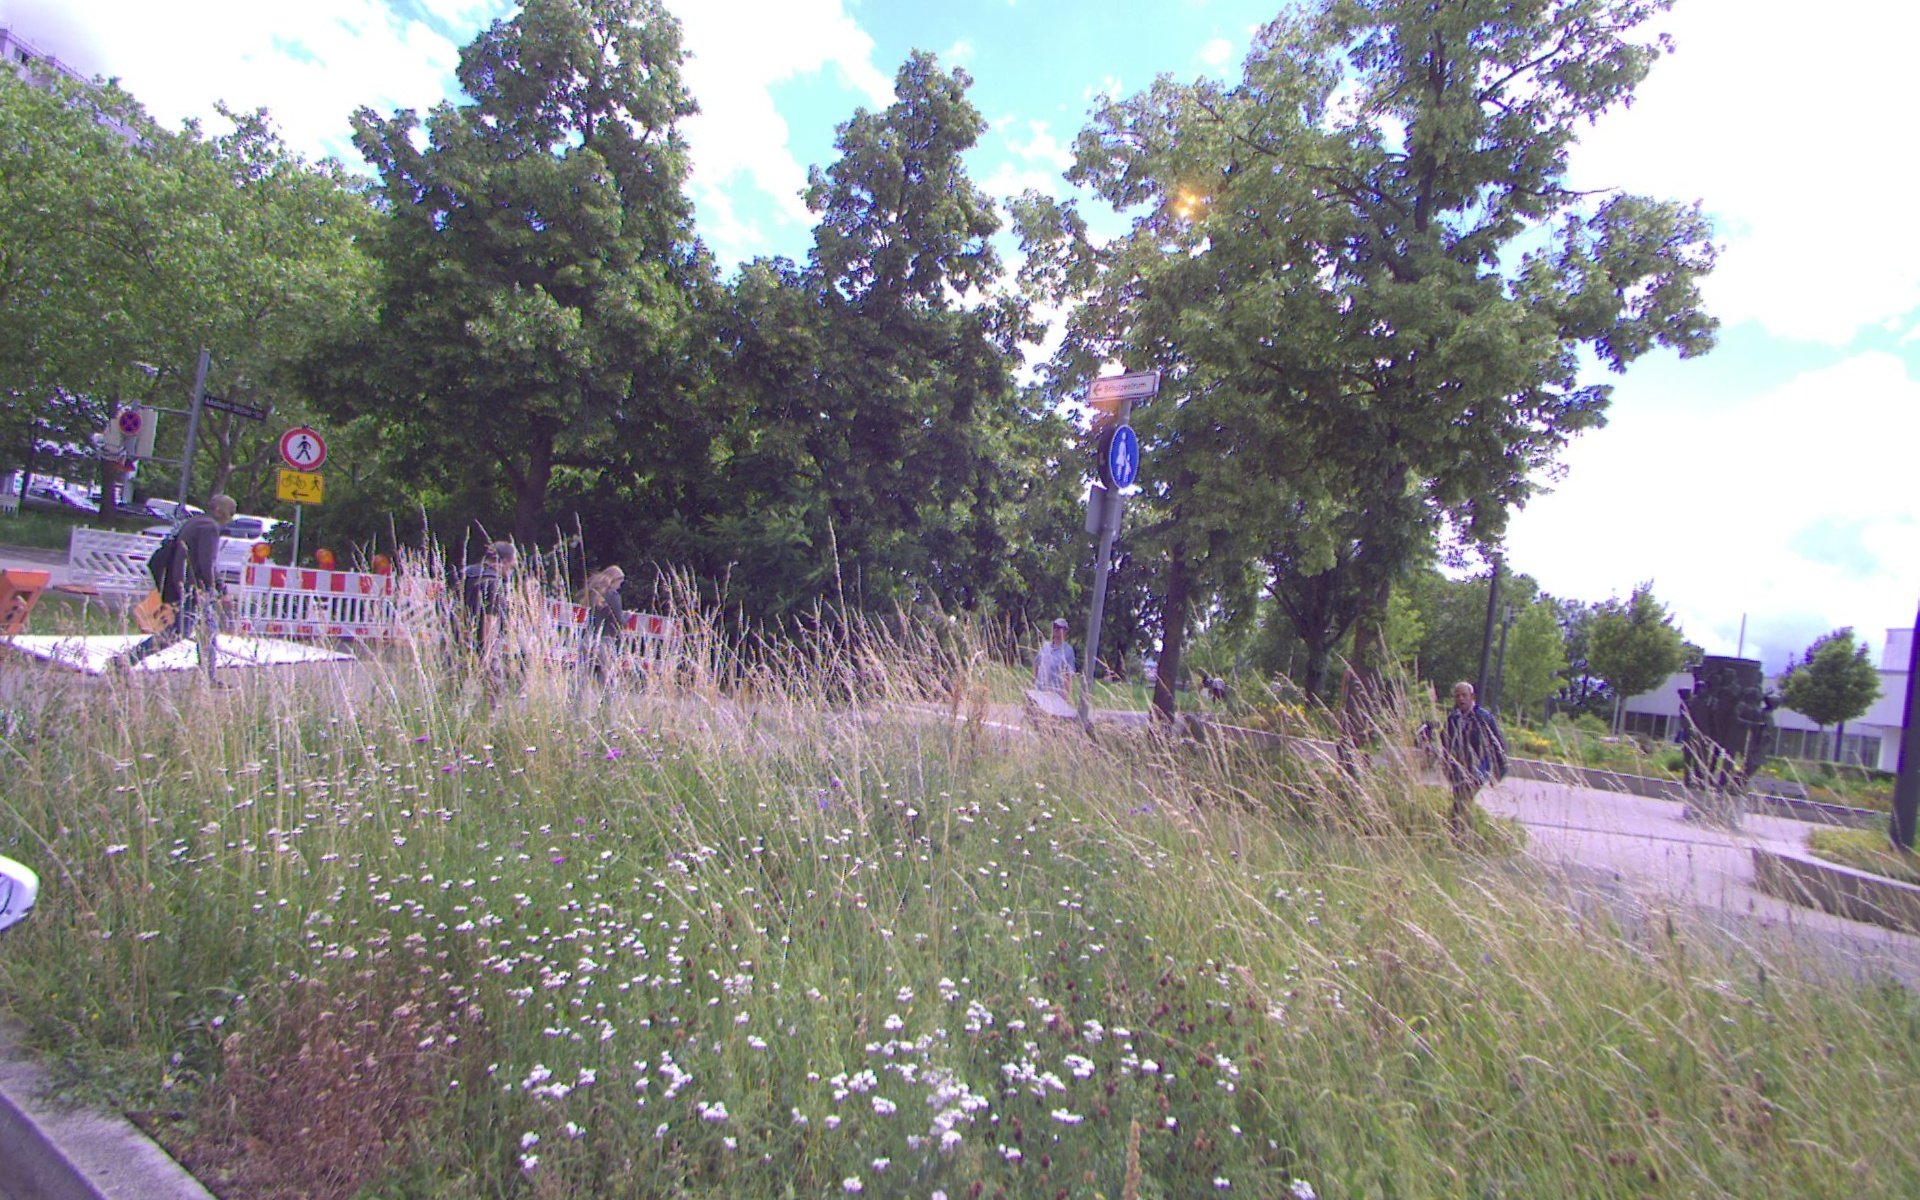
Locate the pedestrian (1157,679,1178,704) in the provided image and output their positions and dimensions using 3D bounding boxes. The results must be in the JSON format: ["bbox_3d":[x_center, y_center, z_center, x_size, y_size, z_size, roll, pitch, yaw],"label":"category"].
[{"bbox_3d":[14.622,6.476,70.981,1.135,1.571,0.818,8,-1,-2],"label":"pedestrian"}]

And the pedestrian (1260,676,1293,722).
[{"bbox_3d":[15.353,4.801,48.746,1.137,2.037,0.817,8,0,30],"label":"pedestrian"}]

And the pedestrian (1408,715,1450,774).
[{"bbox_3d":[10.792,3.315,23.146,0.623,1.236,0.618,7,-1,36],"label":"pedestrian"}]

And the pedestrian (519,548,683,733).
[{"bbox_3d":[-3.569,0.415,10.026,0.915,1.667,1.021,7,-1,36],"label":"pedestrian"}]

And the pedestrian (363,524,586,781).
[{"bbox_3d":[-3.540,0.377,7.393,0.864,1.667,0.962,8,-1,23],"label":"pedestrian"}]

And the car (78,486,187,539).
[{"bbox_3d":[-43.787,-4.602,53.288,3.926,2.037,2.001,8,-1,0],"label":"car"}]

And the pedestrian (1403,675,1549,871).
[{"bbox_3d":[4.836,1.596,9.480,0.751,1.644,0.772,8,-1,-4],"label":"pedestrian"}]

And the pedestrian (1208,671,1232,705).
[{"bbox_3d":[14.246,4.826,55.155,0.879,1.732,0.817,8,-1,30],"label":"pedestrian"}]

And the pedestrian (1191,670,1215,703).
[{"bbox_3d":[13.395,4.748,55.479,0.872,1.681,0.817,8,-1,30],"label":"pedestrian"}]

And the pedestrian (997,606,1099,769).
[{"bbox_3d":[1.091,1.076,12.387,0.760,1.862,0.763,7,-1,35],"label":"pedestrian"}]

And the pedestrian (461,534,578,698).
[{"bbox_3d":[-5.116,0.188,11.675,0.817,1.763,0.781,7,0,42],"label":"pedestrian"}]

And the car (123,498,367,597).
[{"bbox_3d":[-19.714,-1.383,28.055,1.915,1.895,5.090,7,-2,28],"label":"car"}]

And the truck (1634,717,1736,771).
[{"bbox_3d":[37.318,7.400,51.931,1.965,2.037,3.999,8,-1,-4],"label":"truck"}]

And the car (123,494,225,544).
[{"bbox_3d":[-44.242,-4.529,56.691,3.926,2.037,2.001,8,-1,0],"label":"car"}]

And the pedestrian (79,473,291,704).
[{"bbox_3d":[-6.592,-0.076,8.584,0.914,1.794,1.004,7,-1,32],"label":"pedestrian"}]

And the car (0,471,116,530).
[{"bbox_3d":[-43.693,-4.778,48.572,3.926,2.037,2.001,8,-1,0],"label":"car"}]
